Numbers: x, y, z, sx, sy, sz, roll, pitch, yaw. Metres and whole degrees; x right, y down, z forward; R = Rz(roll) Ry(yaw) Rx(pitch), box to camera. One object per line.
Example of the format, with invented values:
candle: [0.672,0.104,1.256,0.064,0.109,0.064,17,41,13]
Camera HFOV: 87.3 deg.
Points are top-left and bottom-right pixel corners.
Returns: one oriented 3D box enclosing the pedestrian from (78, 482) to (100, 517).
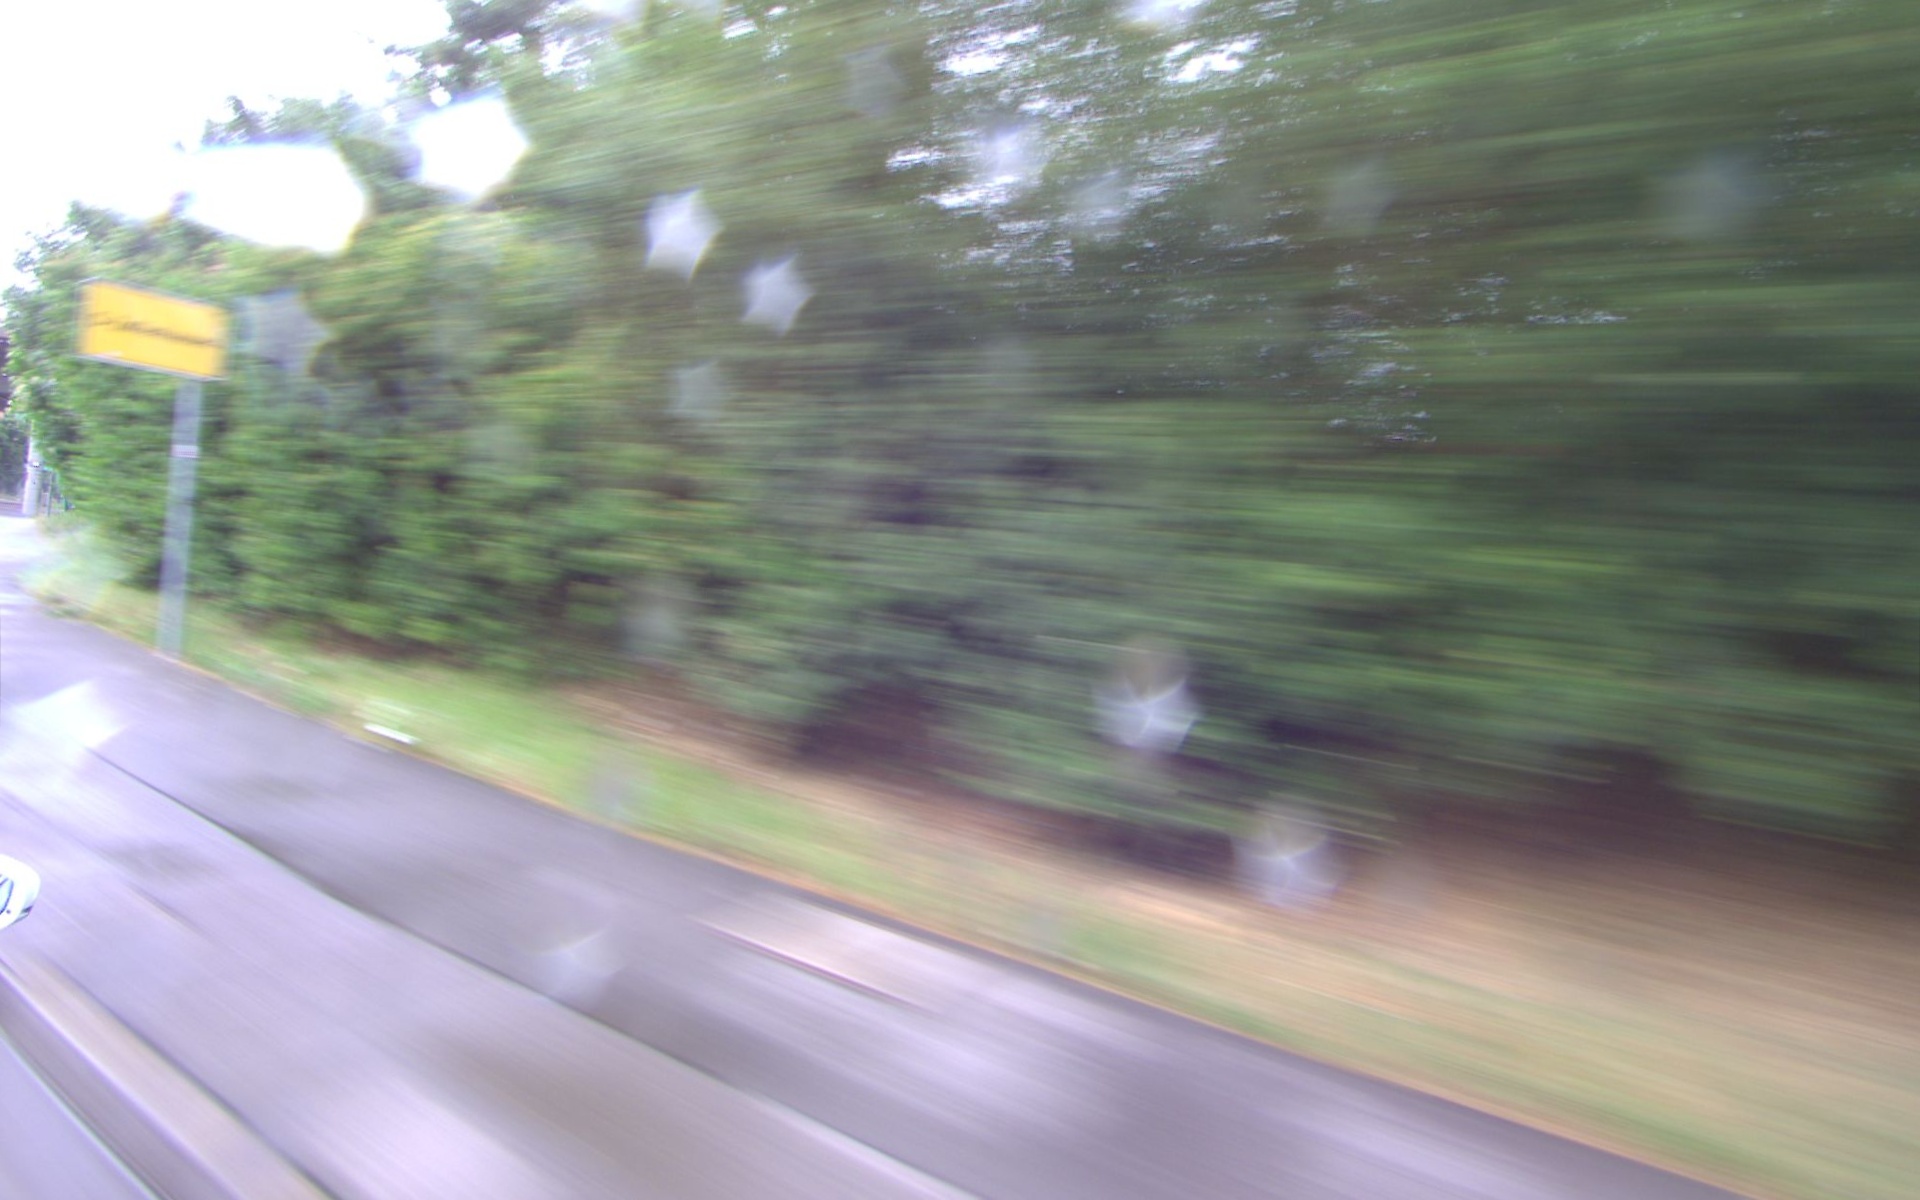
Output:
pedestrian: [-49.556,-5.722,57.208,0.896,1.843,0.597,7,-1,38]

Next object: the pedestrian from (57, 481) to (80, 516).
pedestrian: [-50.284,-5.741,56.744,0.823,1.829,0.626,7,-1,35]
